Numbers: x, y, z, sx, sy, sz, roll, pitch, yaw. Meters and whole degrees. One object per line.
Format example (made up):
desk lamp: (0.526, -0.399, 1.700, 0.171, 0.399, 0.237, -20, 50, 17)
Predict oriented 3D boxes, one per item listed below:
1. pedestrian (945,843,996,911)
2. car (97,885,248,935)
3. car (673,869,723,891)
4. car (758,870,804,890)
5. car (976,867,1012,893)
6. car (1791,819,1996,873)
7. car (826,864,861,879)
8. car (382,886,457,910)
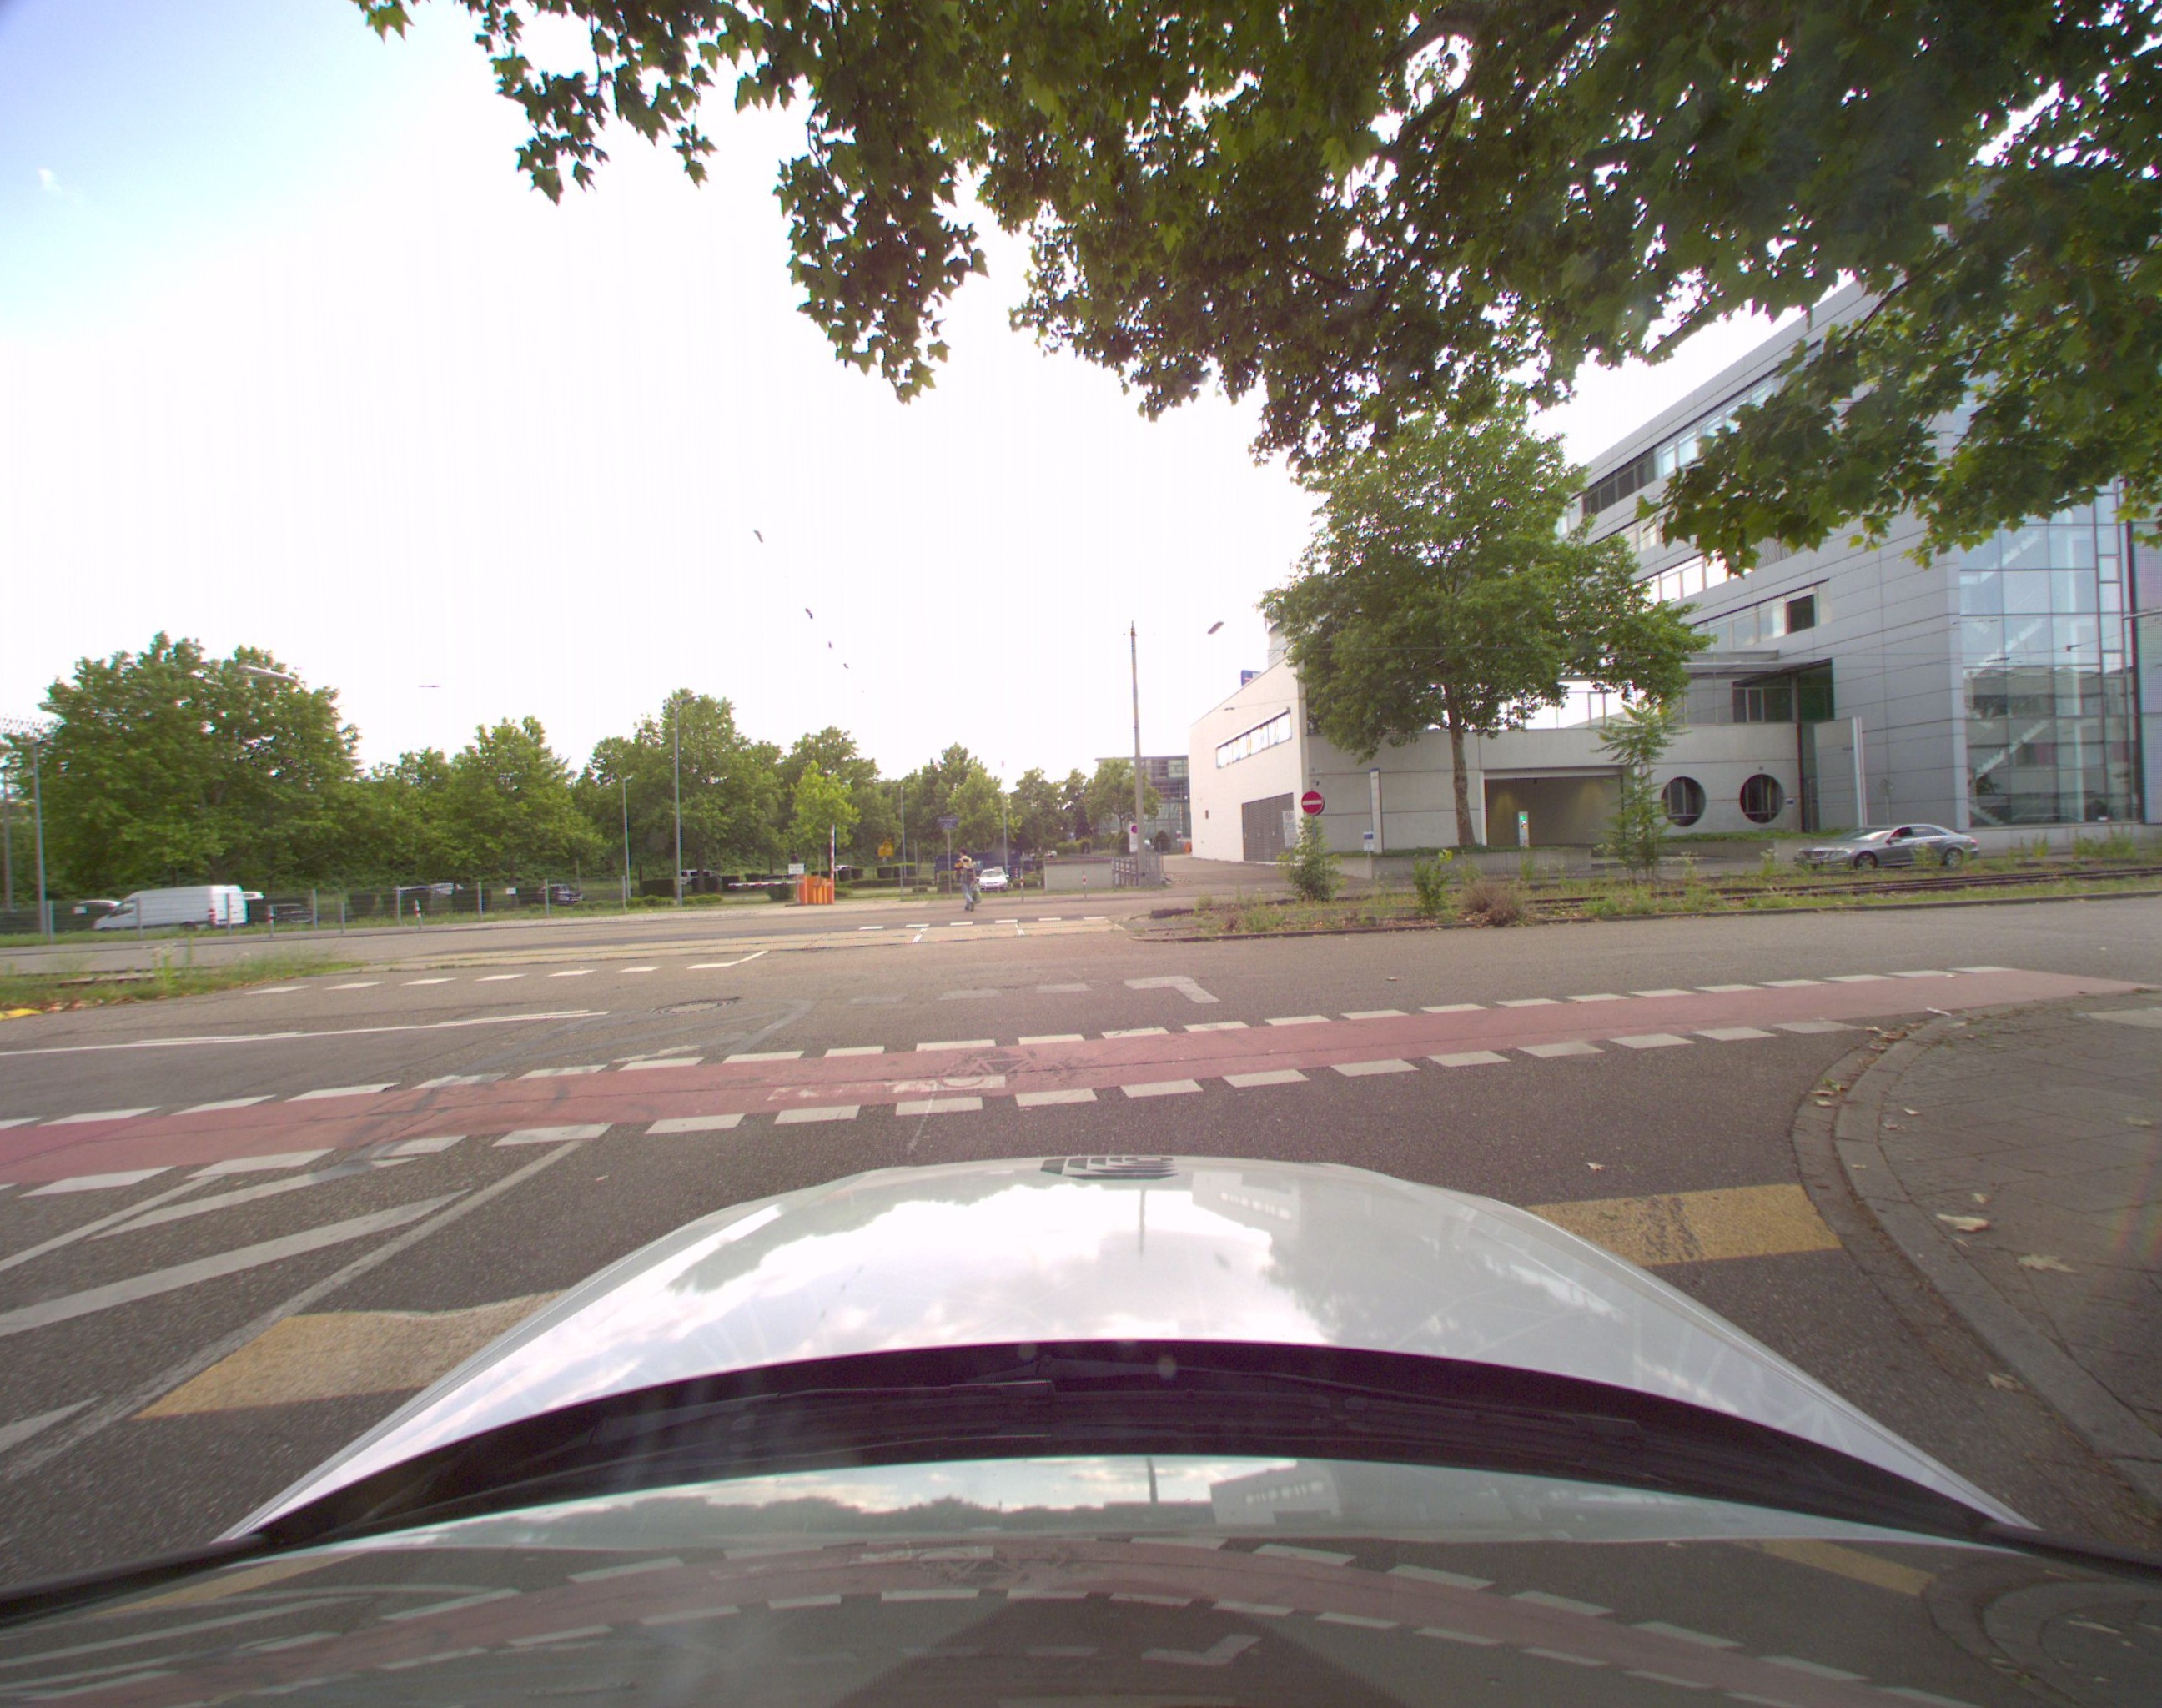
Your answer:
pedestrian: (-3.164, 0.652, 23.253, 1.006, 1.849, 1.218, -2, 0, -28)
car: (-47.516, 2.905, 42.692, 5.284, 2.211, 1.792, -3, 0, -9)
car: (-40.593, 2.738, 86.438, 1.838, 2.135, 4.597, -2, 0, 27)
car: (-29.080, 2.514, 78.963, 3.950, 1.701, 1.921, -2, 0, 26)
car: (-5.215, 1.548, 49.447, 1.927, 1.403, 4.075, -3, 0, -4)
car: (25.350, -0.245, 25.496, 4.945, 1.431, 1.770, -3, 0, -5)
car: (-31.611, 2.316, 108.612, 1.896, 1.721, 4.326, -2, 0, 28)
car: (-54.228, 3.596, 66.866, 1.975, 1.684, 4.288, -2, 0, 27)
